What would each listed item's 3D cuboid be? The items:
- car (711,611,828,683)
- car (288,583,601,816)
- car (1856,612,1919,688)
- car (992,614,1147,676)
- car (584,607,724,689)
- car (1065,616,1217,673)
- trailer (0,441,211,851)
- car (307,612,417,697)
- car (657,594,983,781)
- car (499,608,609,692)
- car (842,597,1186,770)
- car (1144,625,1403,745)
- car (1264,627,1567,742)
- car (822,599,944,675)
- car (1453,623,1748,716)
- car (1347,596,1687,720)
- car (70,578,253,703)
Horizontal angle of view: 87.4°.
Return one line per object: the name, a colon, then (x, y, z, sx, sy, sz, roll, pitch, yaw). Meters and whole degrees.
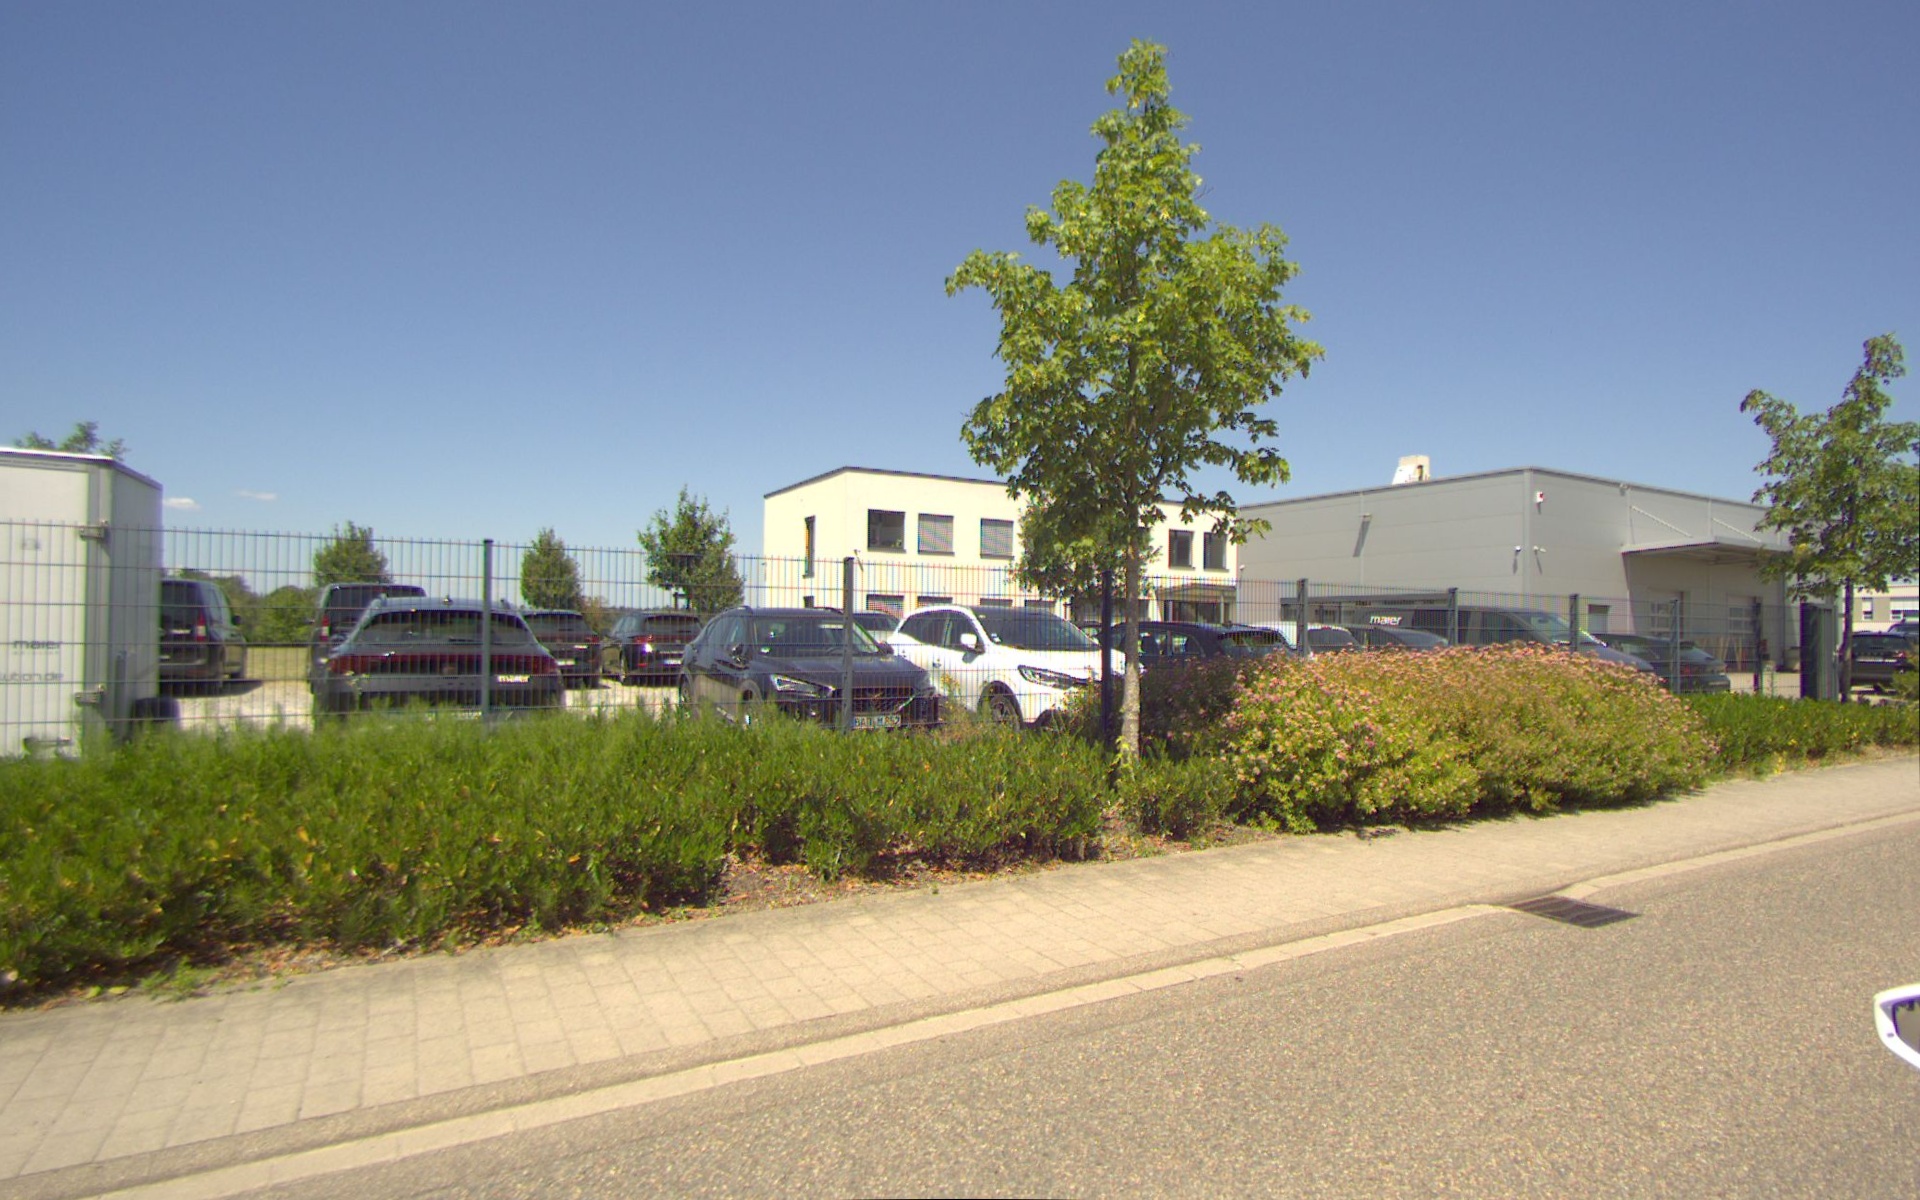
car: (-4.251, 0.978, 22.079, 1.460, 1.433, 3.455, 2, -1, -30)
car: (-4.709, 0.717, 9.213, 1.976, 1.556, 4.528, 1, -1, -29)
car: (28.945, 1.493, 29.842, 4.636, 2.127, 1.992, 2, 0, -29)
car: (2.685, 1.087, 25.466, 1.859, 1.433, 4.088, 2, -1, -30)
car: (-6.344, 0.911, 20.542, 1.841, 1.506, 3.967, 1, -1, -31)
car: (4.813, 1.160, 27.254, 1.859, 1.368, 4.088, 2, -1, -30)
trailer: (-6.832, 0.235, 7.420, 1.708, 2.391, 3.964, 2, 0, -32)
car: (-10.293, 0.888, 17.378, 1.476, 1.311, 2.996, 2, -1, -30)
car: (-1.780, 0.778, 10.914, 1.976, 1.556, 4.712, 1, -1, -29)
car: (-7.777, 0.888, 19.090, 1.460, 1.433, 3.455, 2, -1, -30)
car: (0.389, 0.847, 12.134, 1.976, 1.650, 4.712, 1, -1, -29)
car: (4.605, 1.184, 15.164, 1.882, 1.518, 3.354, 2, -1, -30)
car: (7.184, 1.251, 16.282, 1.882, 1.518, 4.173, 2, -1, -30)
car: (-1.855, 0.816, 23.241, 1.460, 1.605, 3.455, 2, -1, -30)
car: (11.841, 1.207, 18.876, 1.941, 1.465, 4.285, 2, -1, -30)
car: (9.613, 0.918, 17.848, 1.941, 1.875, 5.035, 2, -1, -30)
car: (-12.985, 0.625, 16.580, 1.784, 1.795, 3.967, 1, -1, -31)
